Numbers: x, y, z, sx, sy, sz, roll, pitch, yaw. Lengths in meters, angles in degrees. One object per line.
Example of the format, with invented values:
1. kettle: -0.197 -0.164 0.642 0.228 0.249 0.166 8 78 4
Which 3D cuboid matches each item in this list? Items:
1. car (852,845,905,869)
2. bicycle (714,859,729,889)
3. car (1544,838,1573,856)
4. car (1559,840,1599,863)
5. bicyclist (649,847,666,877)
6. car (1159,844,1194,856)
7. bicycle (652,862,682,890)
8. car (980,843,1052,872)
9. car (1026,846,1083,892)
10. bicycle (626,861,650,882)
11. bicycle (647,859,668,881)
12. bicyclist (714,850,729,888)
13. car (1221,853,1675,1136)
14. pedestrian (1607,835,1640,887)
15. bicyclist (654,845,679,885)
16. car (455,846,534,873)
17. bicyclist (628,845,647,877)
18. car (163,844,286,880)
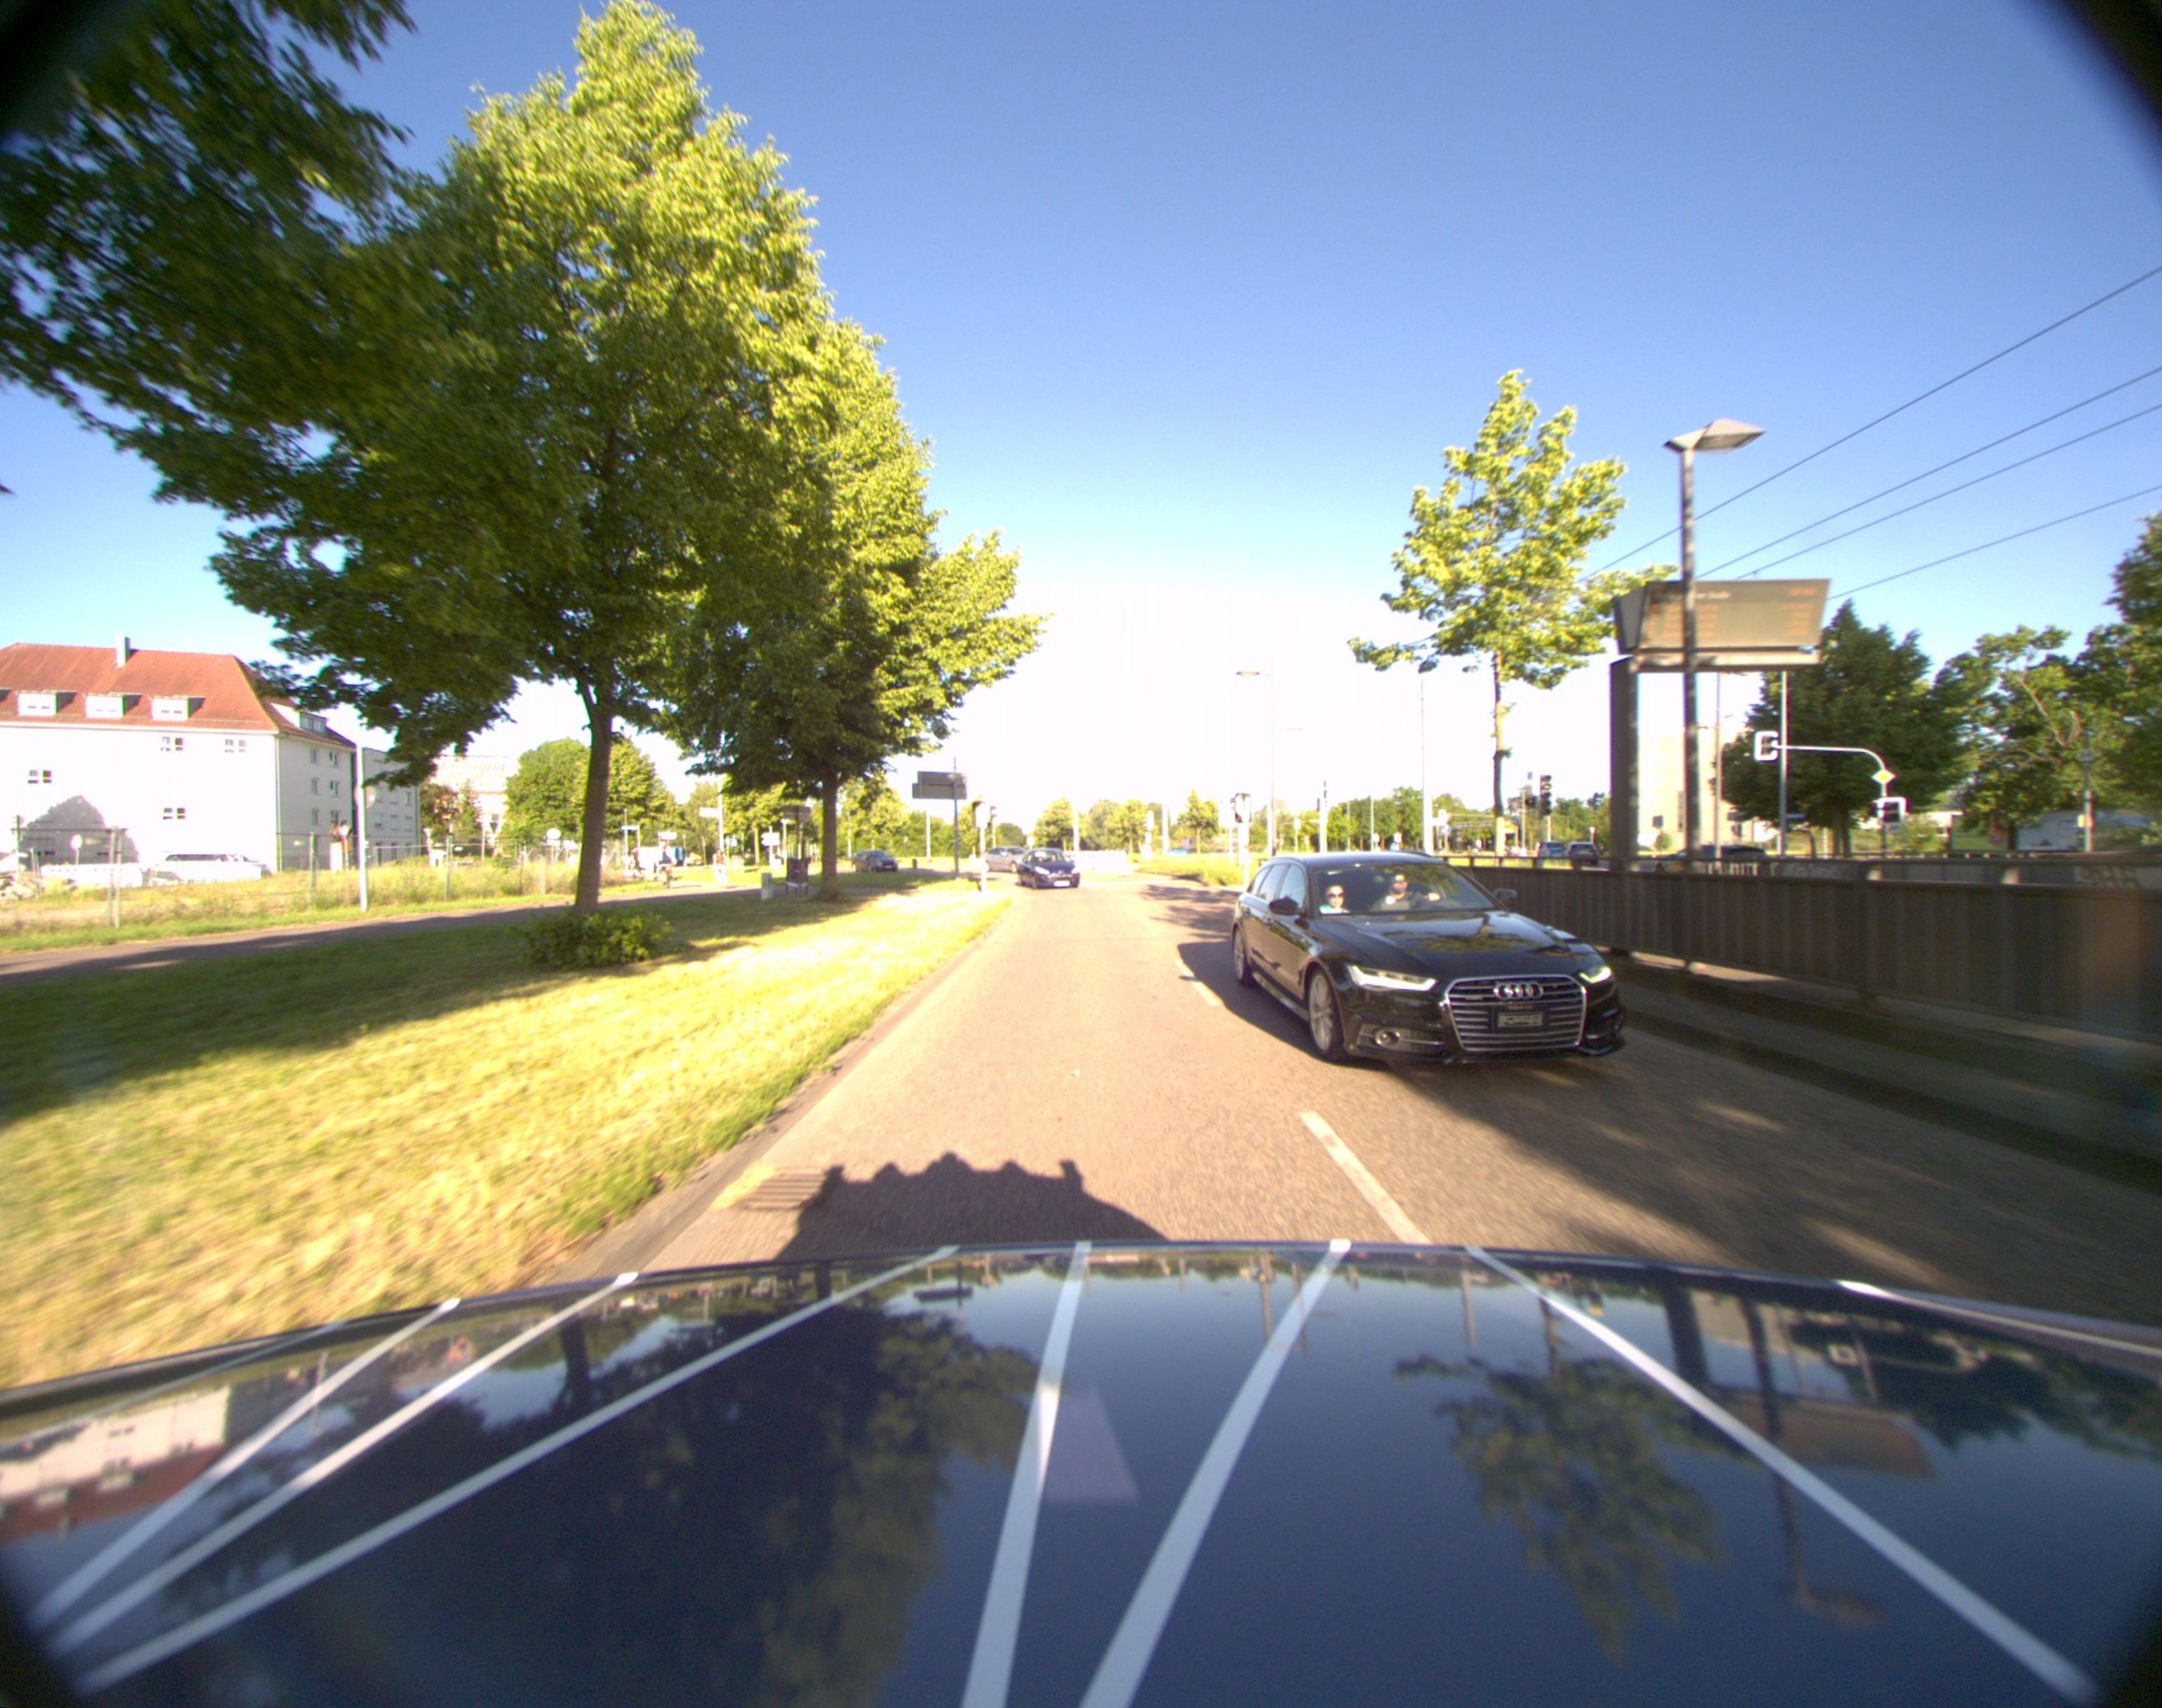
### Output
1. car: -12.968 0.181 48.489 1.854 1.420 3.937 -2 2 -38
2. bicycle: -14.323 0.784 30.274 0.508 1.145 1.601 -1 1 -26
3. car: 37.772 -0.563 60.094 1.660 1.257 3.628 1 3 37
4. car: 31.976 -0.174 48.738 1.660 1.387 3.619 0 1 41
5. bicyclist: -21.806 0.411 39.115 0.472 1.478 0.913 -4 4 -44
6. car: 12.119 -0.503 96.471 4.010 1.420 1.801 -1 2 -6
7. bicycle: -16.062 0.841 29.470 0.659 1.006 1.815 -2 1 -40
8. car: -3.738 0.185 43.066 1.854 1.560 4.515 -1 1 -39
9. car: -1.083 0.510 29.206 1.764 1.507 3.943 -1 2 -8
10. bicycle: -22.257 0.862 38.182 0.594 0.955 1.895 -4 3 -44
11. bicycle: -21.841 0.809 39.177 0.480 1.076 1.639 -4 3 -44
12. bicyclist: -14.282 0.588 30.174 0.505 1.464 0.832 -2 2 -26
13. car: 2.514 0.803 6.626 1.788 1.518 4.601 -2 1 1
14. pedestrian: 16.926 0.202 23.726 0.418 1.569 0.811 -1 3 -2
15. bicyclist: -16.055 0.410 29.444 0.656 1.544 0.792 -2 2 -41
16. car: -38.532 0.338 50.053 3.567 1.740 2.022 -1 1 -15
17. bicyclist: -22.285 0.340 38.173 0.594 1.578 0.963 -4 4 -43
18. car: -51.749 0.435 46.023 4.477 2.002 1.996 -1 2 -20
